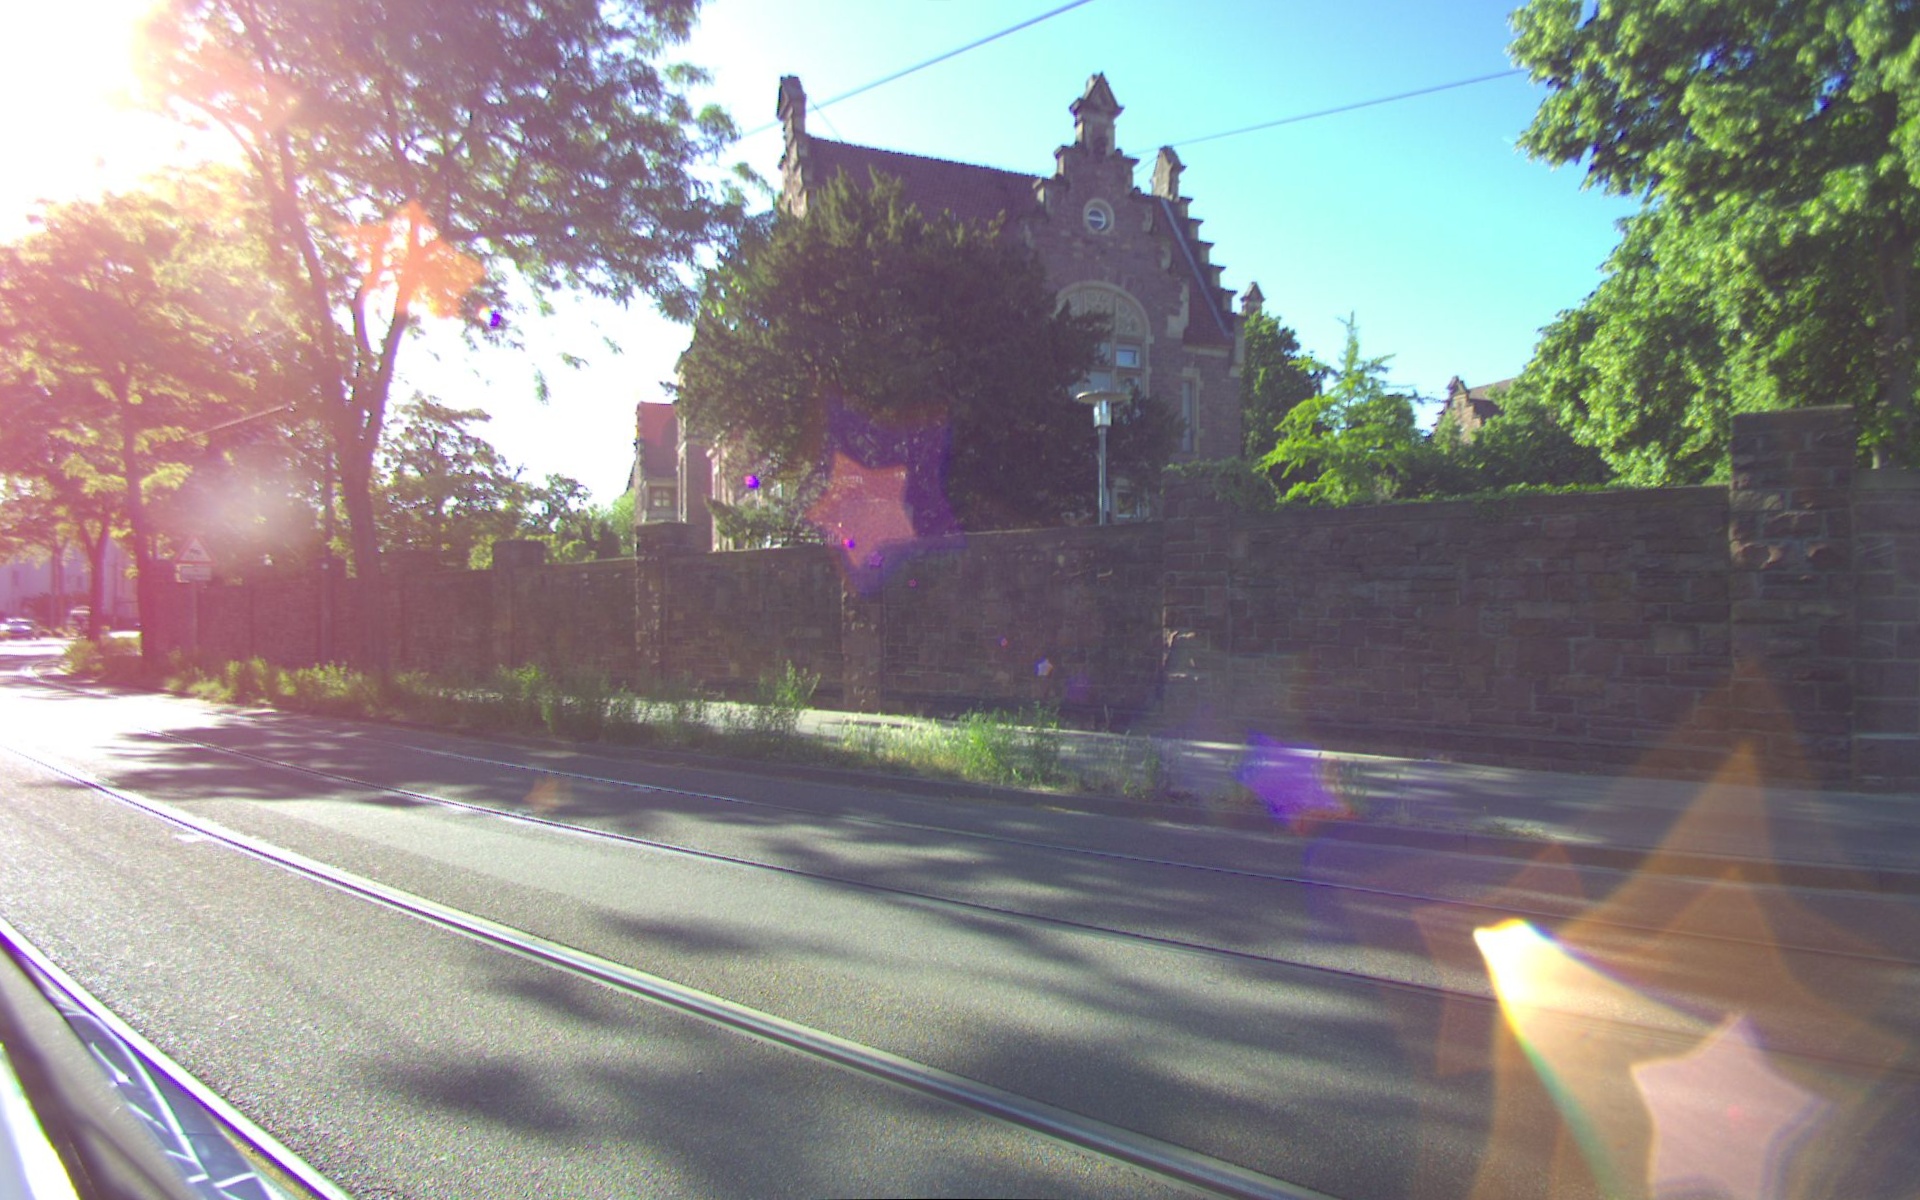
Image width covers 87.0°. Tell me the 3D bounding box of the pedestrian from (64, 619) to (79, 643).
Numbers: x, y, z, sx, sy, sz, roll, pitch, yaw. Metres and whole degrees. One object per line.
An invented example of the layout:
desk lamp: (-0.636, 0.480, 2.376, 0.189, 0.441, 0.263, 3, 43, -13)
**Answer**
pedestrian: (-70.348, 2.452, 80.133, 0.866, 1.879, 1.022, 0, -1, -37)

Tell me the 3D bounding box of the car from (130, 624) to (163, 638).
car: (-93.789, 3.545, 116.749, 1.713, 1.507, 4.544, 0, -1, -21)

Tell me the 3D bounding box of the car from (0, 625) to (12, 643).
car: (-91.310, 3.173, 94.116, 2.009, 1.501, 4.401, 3, 1, 41)

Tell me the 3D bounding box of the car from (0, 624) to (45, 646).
car: (-69.209, 2.558, 74.308, 1.973, 1.476, 5.448, 4, -3, -32)

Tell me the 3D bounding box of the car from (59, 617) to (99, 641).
car: (-78.321, 2.583, 90.007, 1.966, 2.111, 4.729, 1, -2, -32)
